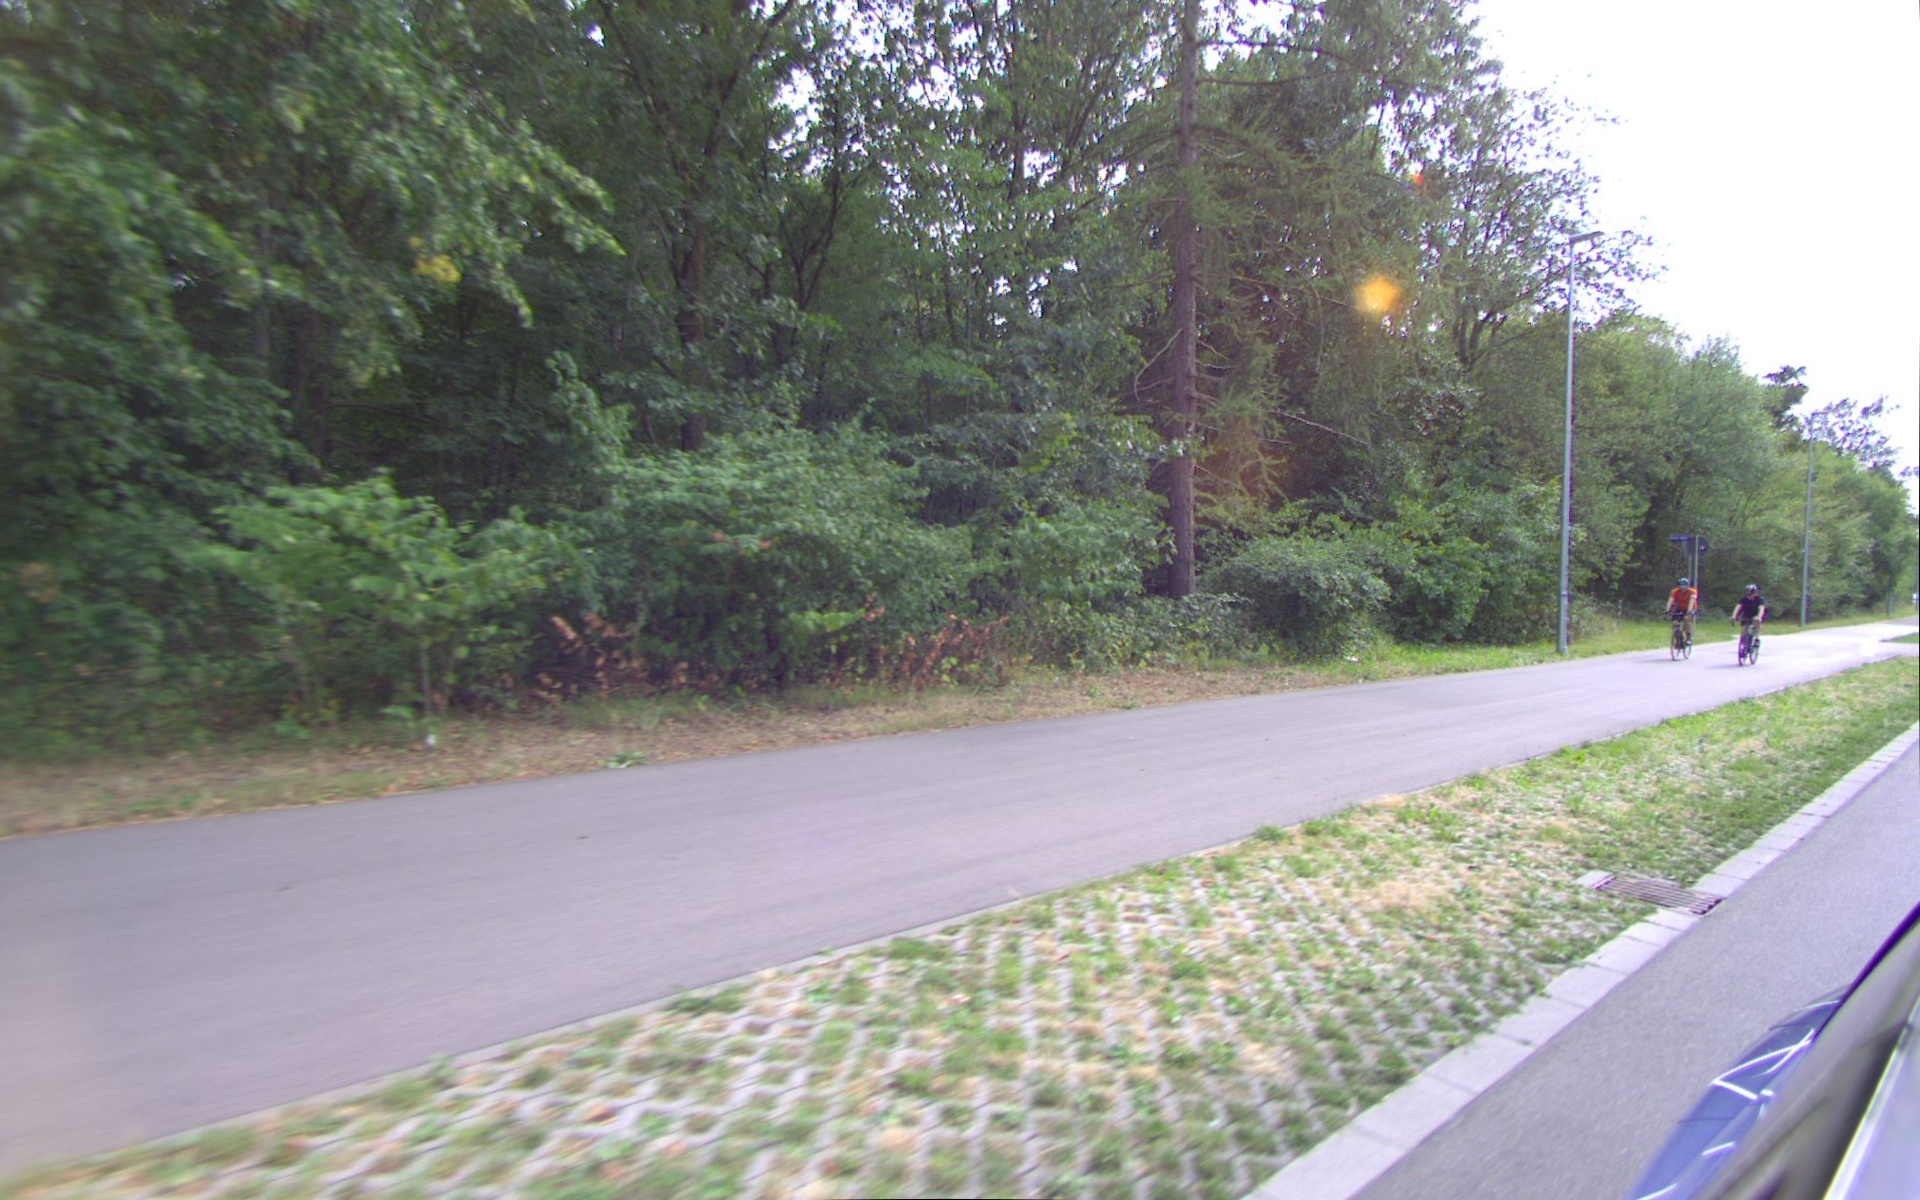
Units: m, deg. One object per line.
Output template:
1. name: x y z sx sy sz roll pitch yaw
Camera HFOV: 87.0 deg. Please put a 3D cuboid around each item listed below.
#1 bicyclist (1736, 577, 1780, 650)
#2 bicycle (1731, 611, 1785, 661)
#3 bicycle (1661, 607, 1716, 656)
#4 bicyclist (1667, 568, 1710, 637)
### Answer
1. bicyclist: 16.279 0.260 20.638 1.166 1.433 0.520 -1 2 -43
2. bicycle: 16.325 0.715 20.681 1.725 0.923 0.566 -1 4 -43
3. bicycle: 15.449 0.650 21.456 1.855 0.923 0.566 -1 3 -43
4. bicyclist: 15.460 0.044 21.476 1.166 1.433 0.520 -1 0 -43
